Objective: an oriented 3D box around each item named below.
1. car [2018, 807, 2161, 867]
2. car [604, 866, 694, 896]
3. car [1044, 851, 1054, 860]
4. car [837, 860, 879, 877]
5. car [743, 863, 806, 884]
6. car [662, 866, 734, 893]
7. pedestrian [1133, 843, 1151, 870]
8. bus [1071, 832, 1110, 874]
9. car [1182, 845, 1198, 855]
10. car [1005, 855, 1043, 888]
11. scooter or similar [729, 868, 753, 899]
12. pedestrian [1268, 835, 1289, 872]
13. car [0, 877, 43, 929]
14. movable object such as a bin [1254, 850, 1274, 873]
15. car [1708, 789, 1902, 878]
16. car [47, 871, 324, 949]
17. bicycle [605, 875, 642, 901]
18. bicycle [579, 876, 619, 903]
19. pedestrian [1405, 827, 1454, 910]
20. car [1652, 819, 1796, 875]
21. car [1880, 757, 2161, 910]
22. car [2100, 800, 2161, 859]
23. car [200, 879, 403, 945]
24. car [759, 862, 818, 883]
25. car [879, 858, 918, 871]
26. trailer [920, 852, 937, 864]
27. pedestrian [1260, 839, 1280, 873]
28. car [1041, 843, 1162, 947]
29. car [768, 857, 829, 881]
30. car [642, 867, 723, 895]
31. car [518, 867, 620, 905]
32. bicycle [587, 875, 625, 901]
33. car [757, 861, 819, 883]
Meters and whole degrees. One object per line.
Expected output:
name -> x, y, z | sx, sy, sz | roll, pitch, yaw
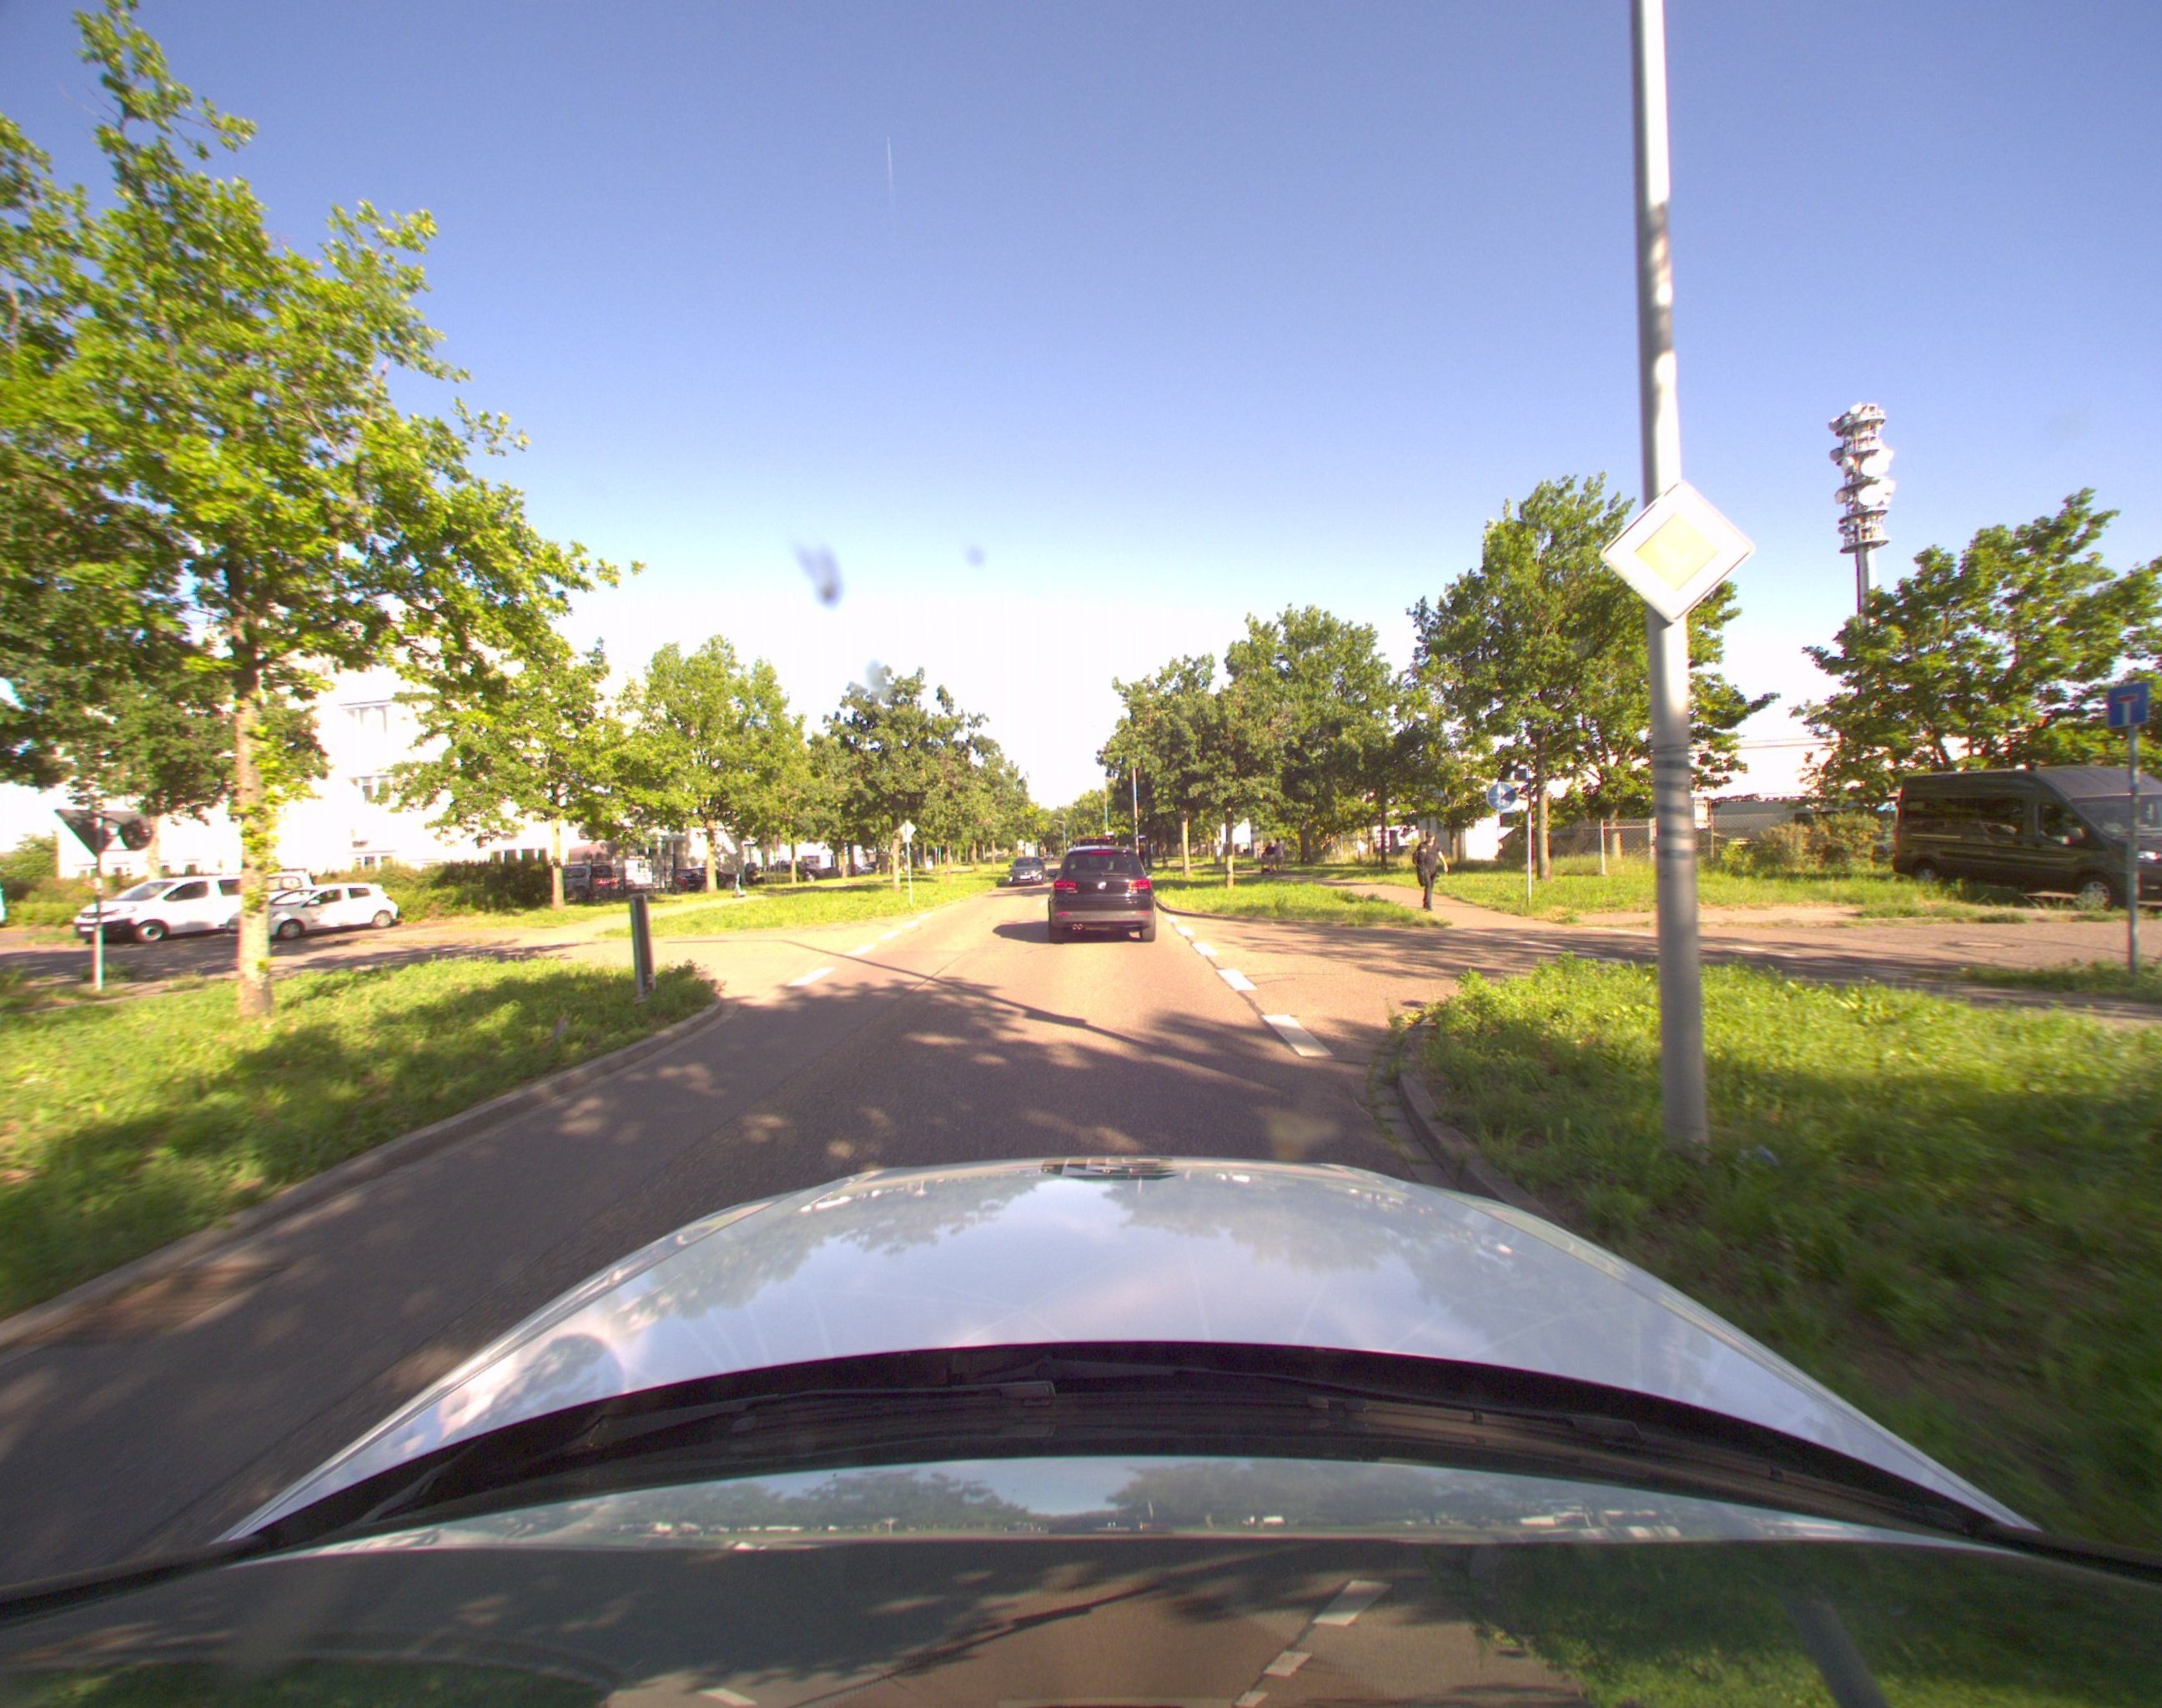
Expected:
car -> 31.233, -0.531, 24.809 | 1.819, 1.640, 4.021 | -2, 0, 21
car -> -24.115, 1.496, 45.528 | 1.778, 1.448, 4.024 | -2, 0, 43
car -> -6.027, 0.264, 154.633 | 1.739, 1.465, 4.425 | -3, 0, -1
car -> -23.856, 1.552, 87.221 | 3.715, 1.618, 1.971 | -2, 0, 15
car -> -23.108, 1.473, 61.395 | 3.975, 1.401, 1.976 | -2, 0, -41
car -> -24.491, 1.602, 52.095 | 4.011, 1.511, 1.784 | -2, 1, -29
pedestrian -> 3.897, 0.162, 52.013 | 1.016, 1.651, 1.099 | -2, 0, 0
bus -> 0.759, -0.140, 73.974 | 2.758, 3.456, 11.199 | -2, 0, -3
car -> 20.547, -0.718, 153.699 | 2.181, 1.744, 4.634 | -2, 0, -5
car -> -2.984, 0.874, 43.277 | 1.801, 1.536, 4.490 | -4, 0, -3
scooter or similar -> -15.013, 1.279, 35.978 | 0.393, 1.279, 1.441 | -2, 0, 1
pedestrian -> 9.741, -0.036, 40.200 | 0.723, 1.755, 0.867 | -4, 0, 0
car -> -42.857, 2.050, 29.717 | 2.347, 1.928, 5.539 | -2, 2, 12
movable object such as a bin -> 9.004, 0.362, 40.074 | 0.723, 1.081, 0.867 | -4, 0, 0
car -> 23.964, -0.640, 27.290 | 2.153, 2.643, 4.851 | -2, 0, 1
car -> -28.364, 1.692, 26.181 | 2.285, 1.816, 5.461 | -2, 2, 12
bicycle -> -21.403, 1.566, 38.157 | 0.637, 1.087, 1.891 | -2, 0, 0
bicycle -> -21.727, 1.574, 36.749 | 0.637, 1.087, 1.891 | -2, 0, 0
pedestrian -> 7.940, 0.315, 18.566 | 0.723, 1.812, 0.868 | -2, 2, 0
car -> 21.389, -0.226, 27.297 | 1.998, 1.664, 3.597 | -2, 0, 1
car -> 19.529, -0.513, 16.371 | 2.070, 2.565, 5.994 | -1, 3, 12
car -> 34.151, -0.782, 24.607 | 1.982, 1.823, 4.010 | -2, 0, 8
car -> -23.524, 1.695, 24.796 | 1.980, 1.504, 3.931 | -2, 2, 12
car -> -24.274, 1.518, 67.638 | 4.191, 1.491, 1.977 | -2, 0, -39
car -> -24.177, 1.419, 107.978 | 4.480, 1.479, 1.944 | -2, 0, 4
trailer -> -25.567, 0.693, 136.352 | 2.097, 1.914, 3.738 | -2, 0, -1
pedestrian -> 9.099, 0.100, 39.198 | 0.723, 1.603, 0.867 | -2, 0, 0
car -> 0.352, 0.634, 15.293 | 1.929, 1.656, 4.427 | -1, 1, 0
car -> -26.340, 1.383, 76.028 | 4.885, 2.013, 1.976 | -2, 0, -41
car -> -24.045, 1.592, 49.172 | 4.022, 1.448, 1.779 | -2, 0, -43
car -> -25.611, 1.605, 40.798 | 3.991, 1.783, 2.032 | -1, 0, 11
bicycle -> -22.392, 1.598, 38.460 | 0.637, 1.087, 1.891 | -2, 0, 0
car -> -23.235, 1.429, 64.600 | 4.193, 1.538, 1.874 | -2, 0, -41
